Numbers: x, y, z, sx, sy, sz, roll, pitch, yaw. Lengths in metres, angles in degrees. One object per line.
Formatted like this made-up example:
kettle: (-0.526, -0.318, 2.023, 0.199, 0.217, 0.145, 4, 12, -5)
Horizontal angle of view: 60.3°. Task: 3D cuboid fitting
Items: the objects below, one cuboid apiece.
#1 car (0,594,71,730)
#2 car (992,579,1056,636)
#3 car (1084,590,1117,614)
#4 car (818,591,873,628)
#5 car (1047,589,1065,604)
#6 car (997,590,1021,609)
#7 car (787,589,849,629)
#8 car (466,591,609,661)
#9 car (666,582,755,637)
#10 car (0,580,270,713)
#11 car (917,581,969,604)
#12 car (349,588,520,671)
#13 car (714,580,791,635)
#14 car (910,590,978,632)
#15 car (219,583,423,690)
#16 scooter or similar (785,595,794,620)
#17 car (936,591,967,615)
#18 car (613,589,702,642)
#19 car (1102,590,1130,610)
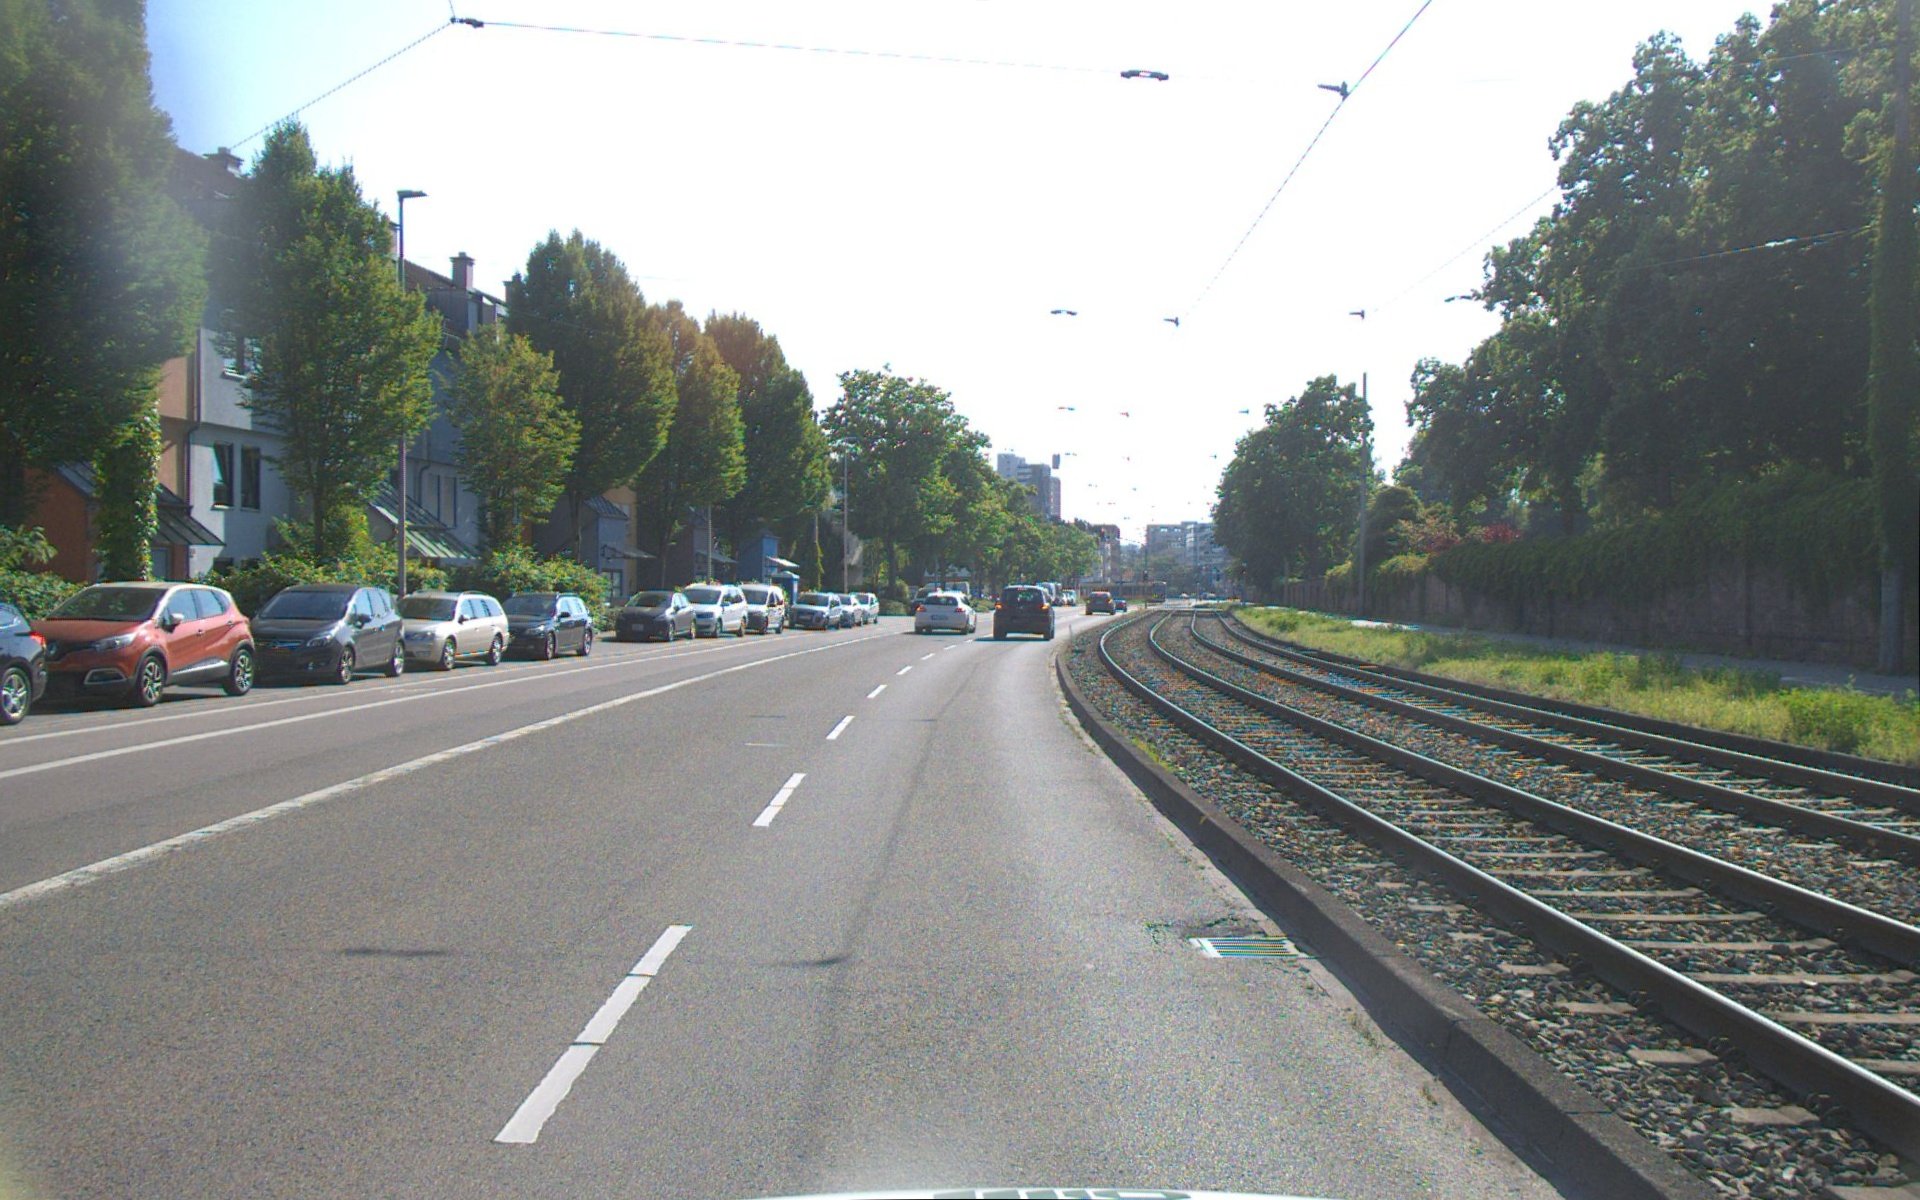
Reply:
car: (-11.093, 0.671, 16.715, 1.618, 1.449, 4.713, 0, 0, 1)
car: (2.051, 0.226, 52.060, 1.773, 1.673, 4.002, 1, 0, 5)
car: (9.021, 0.109, 105.811, 1.773, 1.474, 4.003, 2, 0, 9)
car: (-5.326, 0.432, 77.330, 1.712, 1.536, 4.759, 4, 1, 5)
car: (11.609, -0.449, 199.819, 1.695, 1.724, 4.004, 0, 1, 10)
car: (4.512, -0.046, 151.969, 1.695, 1.687, 4.004, 0, 0, 10)
car: (-6.174, 0.373, 72.254, 1.726, 1.565, 3.984, 5, 1, 8)
car: (-9.965, 0.570, 39.415, 1.673, 1.497, 4.913, 2, 0, 6)
car: (-8.407, 0.291, 56.087, 1.633, 1.730, 4.828, 2, 0, 8)
car: (-11.029, 0.574, 22.158, 1.726, 1.601, 4.162, 0, 0, 1)
car: (-1.778, -0.802, 176.199, 5.260, 2.466, 2.089, 0, 0, 8)
car: (-10.545, 0.575, 33.554, 1.677, 1.497, 4.846, 2, 0, 3)
car: (-7.765, 0.257, 62.287, 1.726, 1.877, 4.583, 5, 1, 6)
car: (-0.512, 0.346, 56.227, 1.825, 1.371, 4.003, 1, 0, 6)
car: (-10.712, 0.565, 28.070, 1.726, 1.601, 4.298, 2, 0, 0)
scooter or similar: (-8.201, 0.363, 79.488, 0.287, 1.174, 1.043, 0, 0, 4)
car: (-0.579, 0.180, 114.867, 1.567, 1.577, 3.897, 2, 0, 7)
car: (-9.218, 0.454, 50.754, 1.582, 1.491, 4.061, 2, 0, 6)
car: (11.866, -0.005, 125.847, 1.773, 1.474, 4.003, 2, 0, 9)
